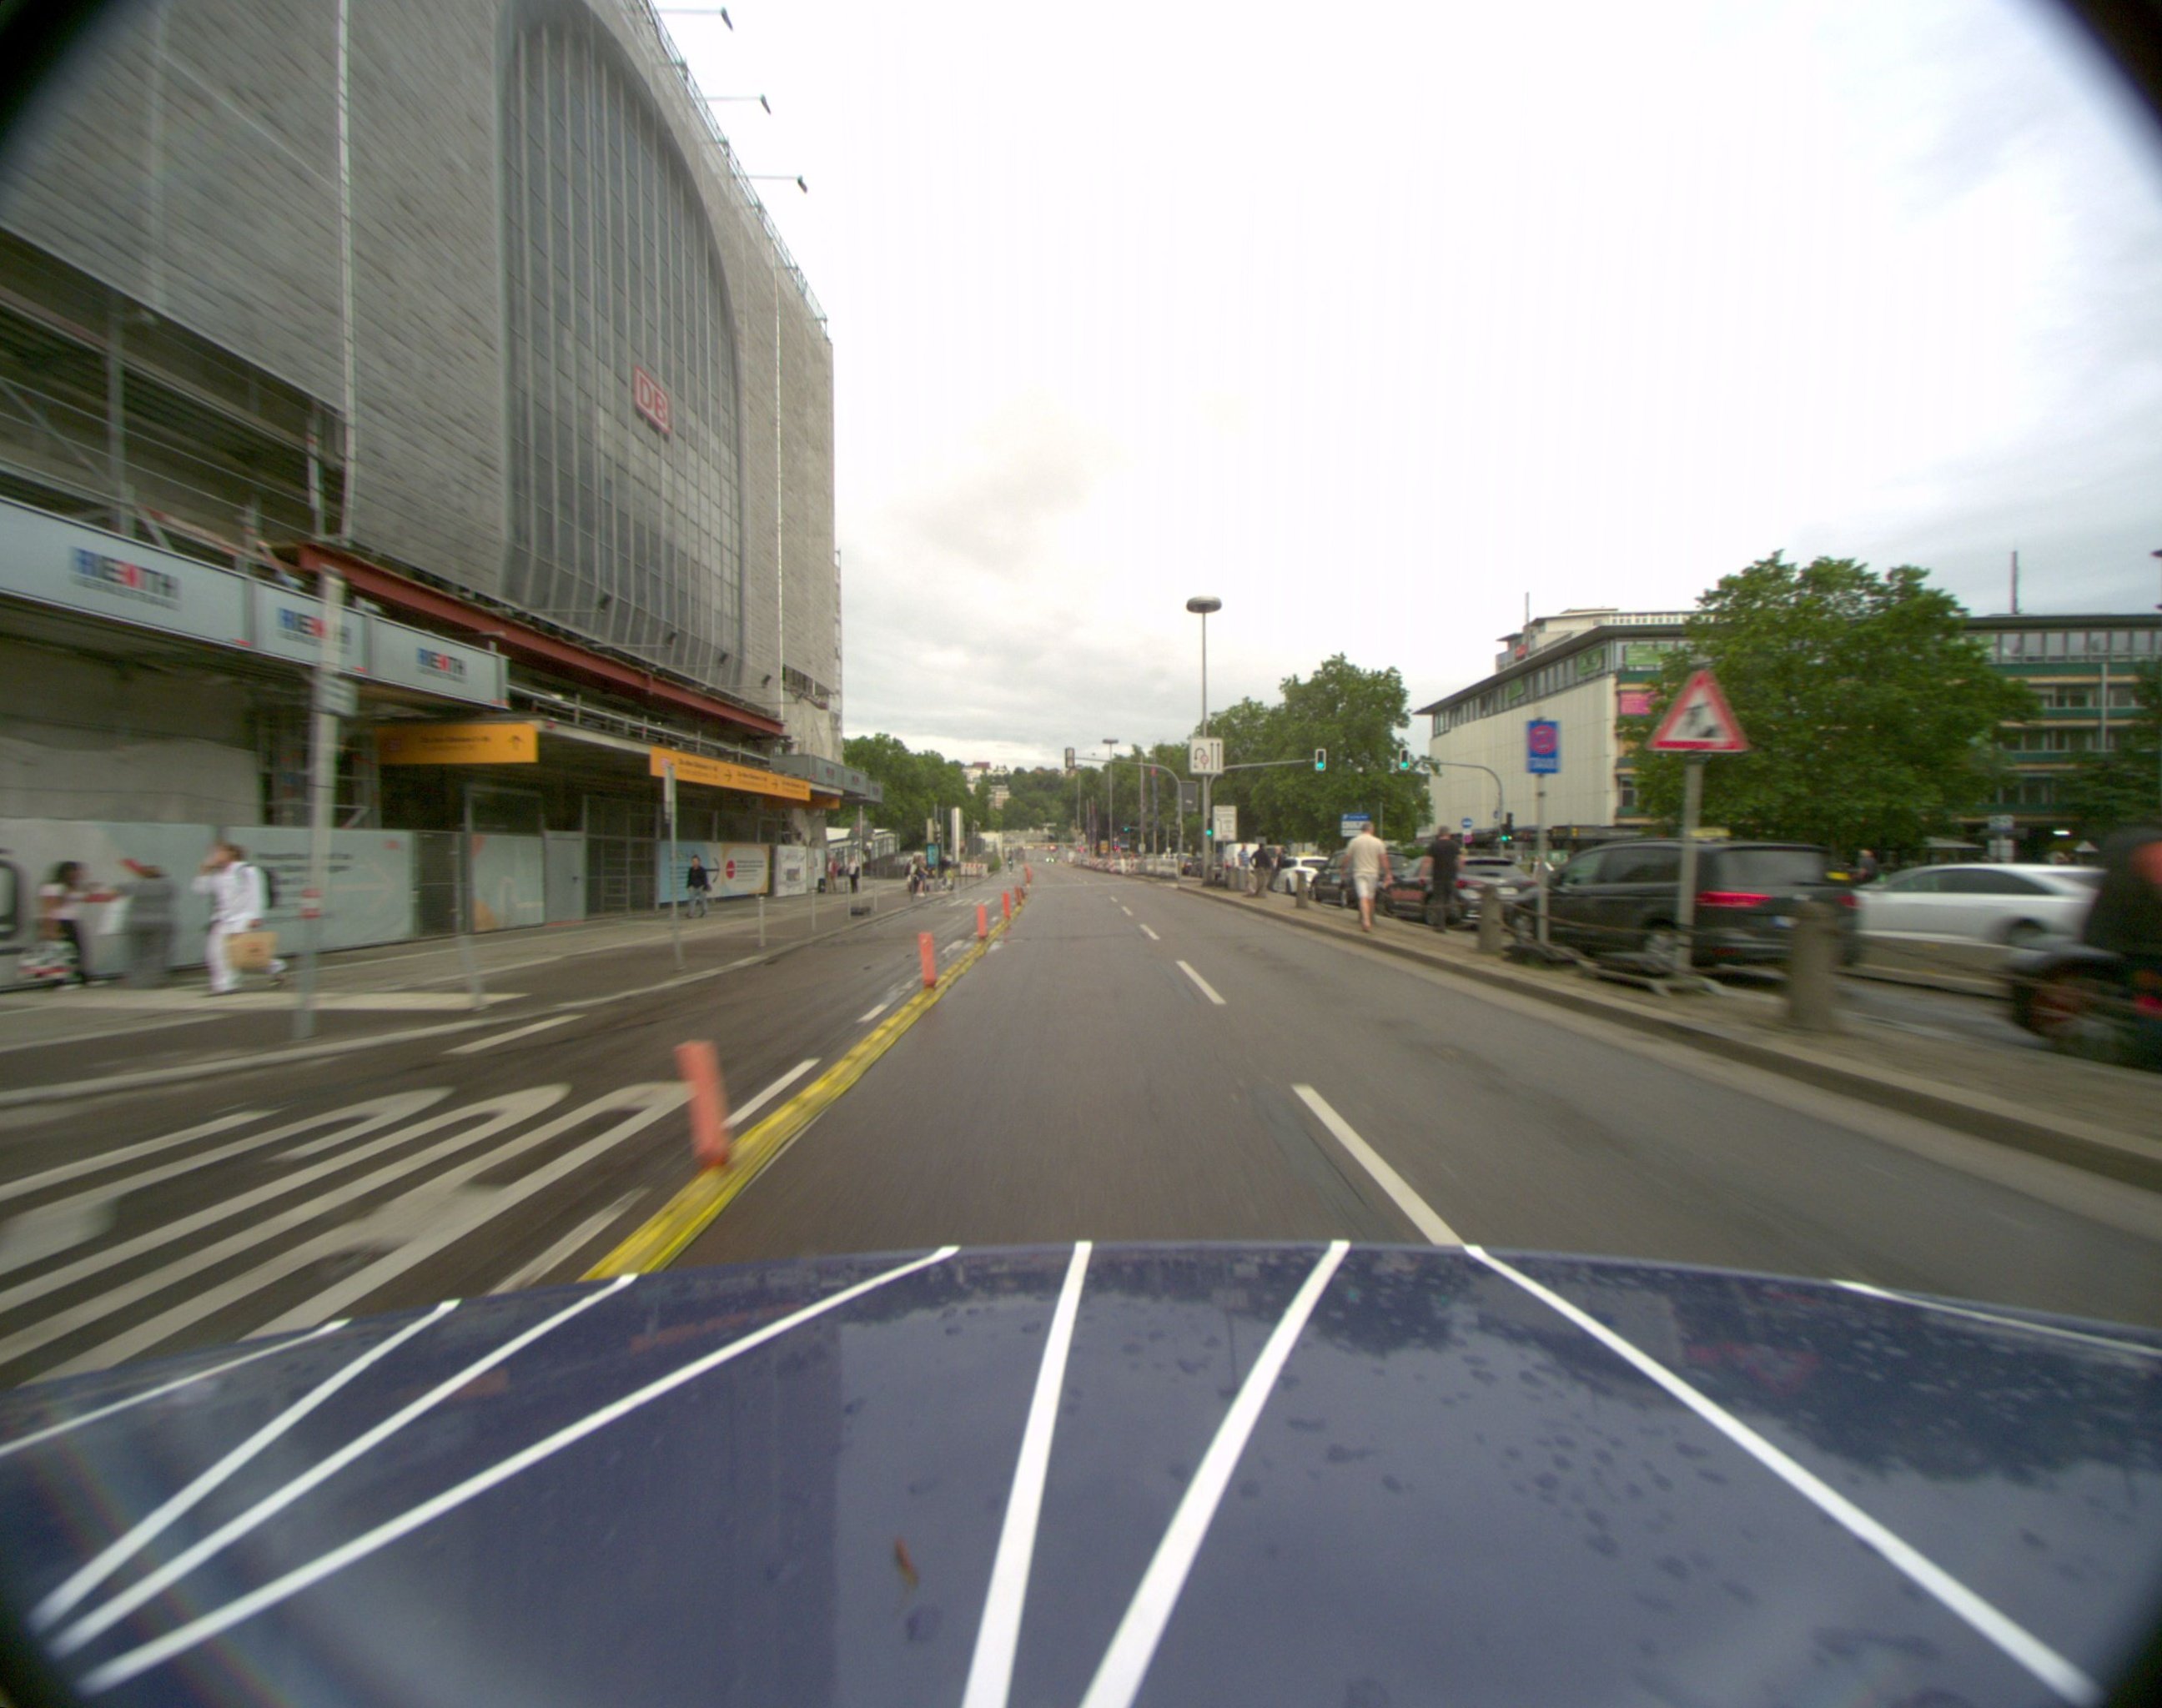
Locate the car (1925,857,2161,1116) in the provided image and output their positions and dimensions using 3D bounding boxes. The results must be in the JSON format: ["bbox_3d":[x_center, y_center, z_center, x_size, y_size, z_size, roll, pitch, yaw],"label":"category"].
[{"bbox_3d":[7.517,0.830,3.271,1.934,1.567,5.261,1,0,1],"label":"car"}]

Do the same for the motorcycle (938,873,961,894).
[{"bbox_3d":[-6.625,1.459,38.319,0.587,1.015,1.236,-1,0,-41],"label":"motorcycle"}]

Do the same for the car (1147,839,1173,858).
[{"bbox_3d":[7.579,-0.539,73.200,1.895,1.692,4.421,-2,-1,-2],"label":"car"}]

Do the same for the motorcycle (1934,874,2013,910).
[{"bbox_3d":[29.335,1.242,24.988,1.813,1.127,0.583,-1,0,3],"label":"motorcycle"}]

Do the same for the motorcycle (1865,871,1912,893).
[{"bbox_3d":[40.625,1.387,38.248,0.532,1.040,1.717,0,0,-2],"label":"motorcycle"}]

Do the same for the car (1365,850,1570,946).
[{"bbox_3d":[7.772,0.780,15.923,1.934,1.680,4.682,1,0,1],"label":"car"}]

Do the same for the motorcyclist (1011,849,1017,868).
[{"bbox_3d":[-7.469,0.503,84.789,0.726,2.024,0.587,1,-1,-5],"label":"motorcyclist"}]

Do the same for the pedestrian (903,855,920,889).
[{"bbox_3d":[-8.343,0.888,37.461,0.565,1.641,0.615,2,0,6],"label":"pedestrian"}]

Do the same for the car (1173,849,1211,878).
[{"bbox_3d":[7.764,0.650,53.425,1.908,1.887,4.523,-2,-1,-1],"label":"car"}]

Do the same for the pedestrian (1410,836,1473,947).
[{"bbox_3d":[5.865,0.599,12.401,0.700,1.744,0.711,0,0,1],"label":"pedestrian"}]

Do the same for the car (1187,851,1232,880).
[{"bbox_3d":[7.902,0.710,47.034,1.908,1.689,4.500,-2,-1,-1],"label":"car"}]

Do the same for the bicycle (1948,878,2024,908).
[{"bbox_3d":[32.858,1.422,27.605,1.616,1.051,0.706,-2,0,17],"label":"bicycle"}]

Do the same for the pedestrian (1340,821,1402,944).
[{"bbox_3d":[4.885,0.466,12.851,0.724,1.996,0.772,-1,0,1],"label":"pedestrian"}]

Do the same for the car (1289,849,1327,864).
[{"bbox_3d":[26.790,0.334,89.692,3.735,1.534,1.855,-4,1,38],"label":"car"}]

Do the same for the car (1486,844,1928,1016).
[{"bbox_3d":[7.521,0.754,9.957,1.934,1.680,4.682,1,0,1],"label":"car"}]

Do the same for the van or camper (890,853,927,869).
[{"bbox_3d":[-25.849,1.044,113.599,6.046,2.387,2.392,-1,-2,44],"label":"van or camper"}]

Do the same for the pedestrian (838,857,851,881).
[{"bbox_3d":[-20.135,1.275,64.640,0.806,2.002,0.765,-2,1,-6],"label":"pedestrian"}]

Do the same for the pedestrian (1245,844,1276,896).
[{"bbox_3d":[6.248,0.566,26.471,0.784,1.765,0.606,2,0,-10],"label":"pedestrian"}]

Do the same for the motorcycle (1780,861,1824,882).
[{"bbox_3d":[35.910,0.859,37.887,0.532,1.040,1.717,0,0,-2],"label":"motorcycle"}]

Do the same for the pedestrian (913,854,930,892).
[{"bbox_3d":[-7.401,0.865,35.312,0.559,1.741,0.711,2,0,3],"label":"pedestrian"}]

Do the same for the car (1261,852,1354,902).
[{"bbox_3d":[8.006,0.782,27.351,2.020,1.611,4.843,0,-1,1],"label":"car"}]

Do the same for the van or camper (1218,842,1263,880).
[{"bbox_3d":[11.379,0.523,54.658,1.999,2.499,5.370,2,0,0],"label":"van or camper"}]

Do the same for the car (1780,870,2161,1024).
[{"bbox_3d":[13.387,1.150,11.151,1.934,1.680,4.682,1,0,1],"label":"car"}]

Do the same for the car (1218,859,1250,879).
[{"bbox_3d":[13.406,1.329,66.774,1.839,1.636,3.804,-2,-1,-2],"label":"car"}]

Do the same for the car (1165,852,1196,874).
[{"bbox_3d":[7.773,0.713,59.525,1.788,1.712,4.483,0,-1,-1],"label":"car"}]

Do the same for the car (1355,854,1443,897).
[{"bbox_3d":[13.742,0.861,33.171,1.934,1.680,4.682,1,0,1],"label":"car"}]

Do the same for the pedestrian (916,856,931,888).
[{"bbox_3d":[-8.052,0.921,38.876,0.559,1.641,0.615,2,0,2],"label":"pedestrian"}]

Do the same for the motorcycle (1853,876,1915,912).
[{"bbox_3d":[28.626,1.411,27.090,1.957,1.220,0.695,-1,0,-18],"label":"motorcycle"}]

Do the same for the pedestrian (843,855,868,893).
[{"bbox_3d":[-9.994,0.877,33.655,0.738,1.668,0.957,2,0,1],"label":"pedestrian"}]

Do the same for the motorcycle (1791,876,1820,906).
[{"bbox_3d":[29.748,1.512,31.231,0.581,1.127,1.627,-2,-1,34],"label":"motorcycle"}]

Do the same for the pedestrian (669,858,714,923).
[{"bbox_3d":[-10.028,0.919,19.597,0.550,1.623,0.995,2,0,1],"label":"pedestrian"}]

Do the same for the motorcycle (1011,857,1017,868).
[{"bbox_3d":[-7.483,0.927,84.895,0.730,1.221,2.160,1,-1,-5],"label":"motorcycle"}]

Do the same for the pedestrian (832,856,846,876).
[{"bbox_3d":[-20.181,1.003,63.356,0.857,1.584,0.709,-2,1,-6],"label":"pedestrian"}]

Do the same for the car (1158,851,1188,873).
[{"bbox_3d":[8.036,0.714,66.607,1.919,1.840,4.565,1,-1,-2],"label":"car"}]

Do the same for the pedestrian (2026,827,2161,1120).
[{"bbox_3d":[6.231,0.641,4.205,0.724,1.597,0.996,-2,0,1],"label":"pedestrian"}]

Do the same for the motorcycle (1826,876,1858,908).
[{"bbox_3d":[27.106,1.345,27.081,0.601,1.051,1.819,-2,-1,38],"label":"motorcycle"}]

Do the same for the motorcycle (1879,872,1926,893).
[{"bbox_3d":[41.550,1.434,38.457,0.532,1.040,1.717,0,0,-2],"label":"motorcycle"}]

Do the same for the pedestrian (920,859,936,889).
[{"bbox_3d":[-7.494,0.987,37.207,0.559,1.441,0.711,2,0,3],"label":"pedestrian"}]

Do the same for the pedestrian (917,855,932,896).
[{"bbox_3d":[-6.742,0.909,32.659,0.560,1.748,0.751,2,0,-12],"label":"pedestrian"}]

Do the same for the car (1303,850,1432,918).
[{"bbox_3d":[7.950,0.752,21.643,1.934,1.680,4.682,1,0,1],"label":"car"}]

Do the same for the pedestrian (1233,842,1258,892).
[{"bbox_3d":[6.006,0.476,27.776,0.558,1.765,0.754,3,0,35],"label":"pedestrian"}]

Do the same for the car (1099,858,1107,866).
[{"bbox_3d":[4.465,1.602,156.567,1.682,1.533,3.174,0,-1,1],"label":"car"}]

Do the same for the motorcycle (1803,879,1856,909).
[{"bbox_3d":[28.398,1.497,28.842,0.582,1.051,1.625,-2,-1,9],"label":"motorcycle"}]

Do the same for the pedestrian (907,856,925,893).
[{"bbox_3d":[-7.414,0.927,34.186,0.559,1.631,0.752,2,0,3],"label":"pedestrian"}]

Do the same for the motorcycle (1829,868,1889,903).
[{"bbox_3d":[24.890,0.999,24.322,1.443,1.051,0.602,-2,0,-9],"label":"motorcycle"}]

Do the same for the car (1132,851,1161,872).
[{"bbox_3d":[5.675,0.659,66.405,1.999,1.806,4.811,0,-1,-1],"label":"car"}]

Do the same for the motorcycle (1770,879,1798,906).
[{"bbox_3d":[28.944,1.559,31.284,0.581,1.037,1.627,-2,-1,34],"label":"motorcycle"}]

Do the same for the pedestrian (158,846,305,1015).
[{"bbox_3d":[-9.788,0.851,8.792,0.724,1.837,0.810,2,0,1],"label":"pedestrian"}]

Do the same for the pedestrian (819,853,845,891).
[{"bbox_3d":[-10.964,0.786,33.528,0.734,1.672,1.110,0,0,4],"label":"pedestrian"}]

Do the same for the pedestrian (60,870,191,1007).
[{"bbox_3d":[-11.292,0.971,9.001,0.653,1.531,0.665,2,0,2],"label":"pedestrian"}]

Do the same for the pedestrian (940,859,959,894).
[{"bbox_3d":[-6.617,1.104,38.306,0.582,1.730,0.819,-1,0,-41],"label":"pedestrian"}]

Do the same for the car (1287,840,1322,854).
[{"bbox_3d":[33.970,-1.110,115.632,4.829,2.001,2.036,-1,-1,3],"label":"car"}]

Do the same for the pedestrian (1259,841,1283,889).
[{"bbox_3d":[6.854,0.389,27.435,0.653,1.701,0.593,-2,0,0],"label":"pedestrian"}]

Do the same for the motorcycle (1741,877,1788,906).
[{"bbox_3d":[26.247,1.420,29.192,0.477,1.040,1.625,-2,-1,7],"label":"motorcycle"}]
